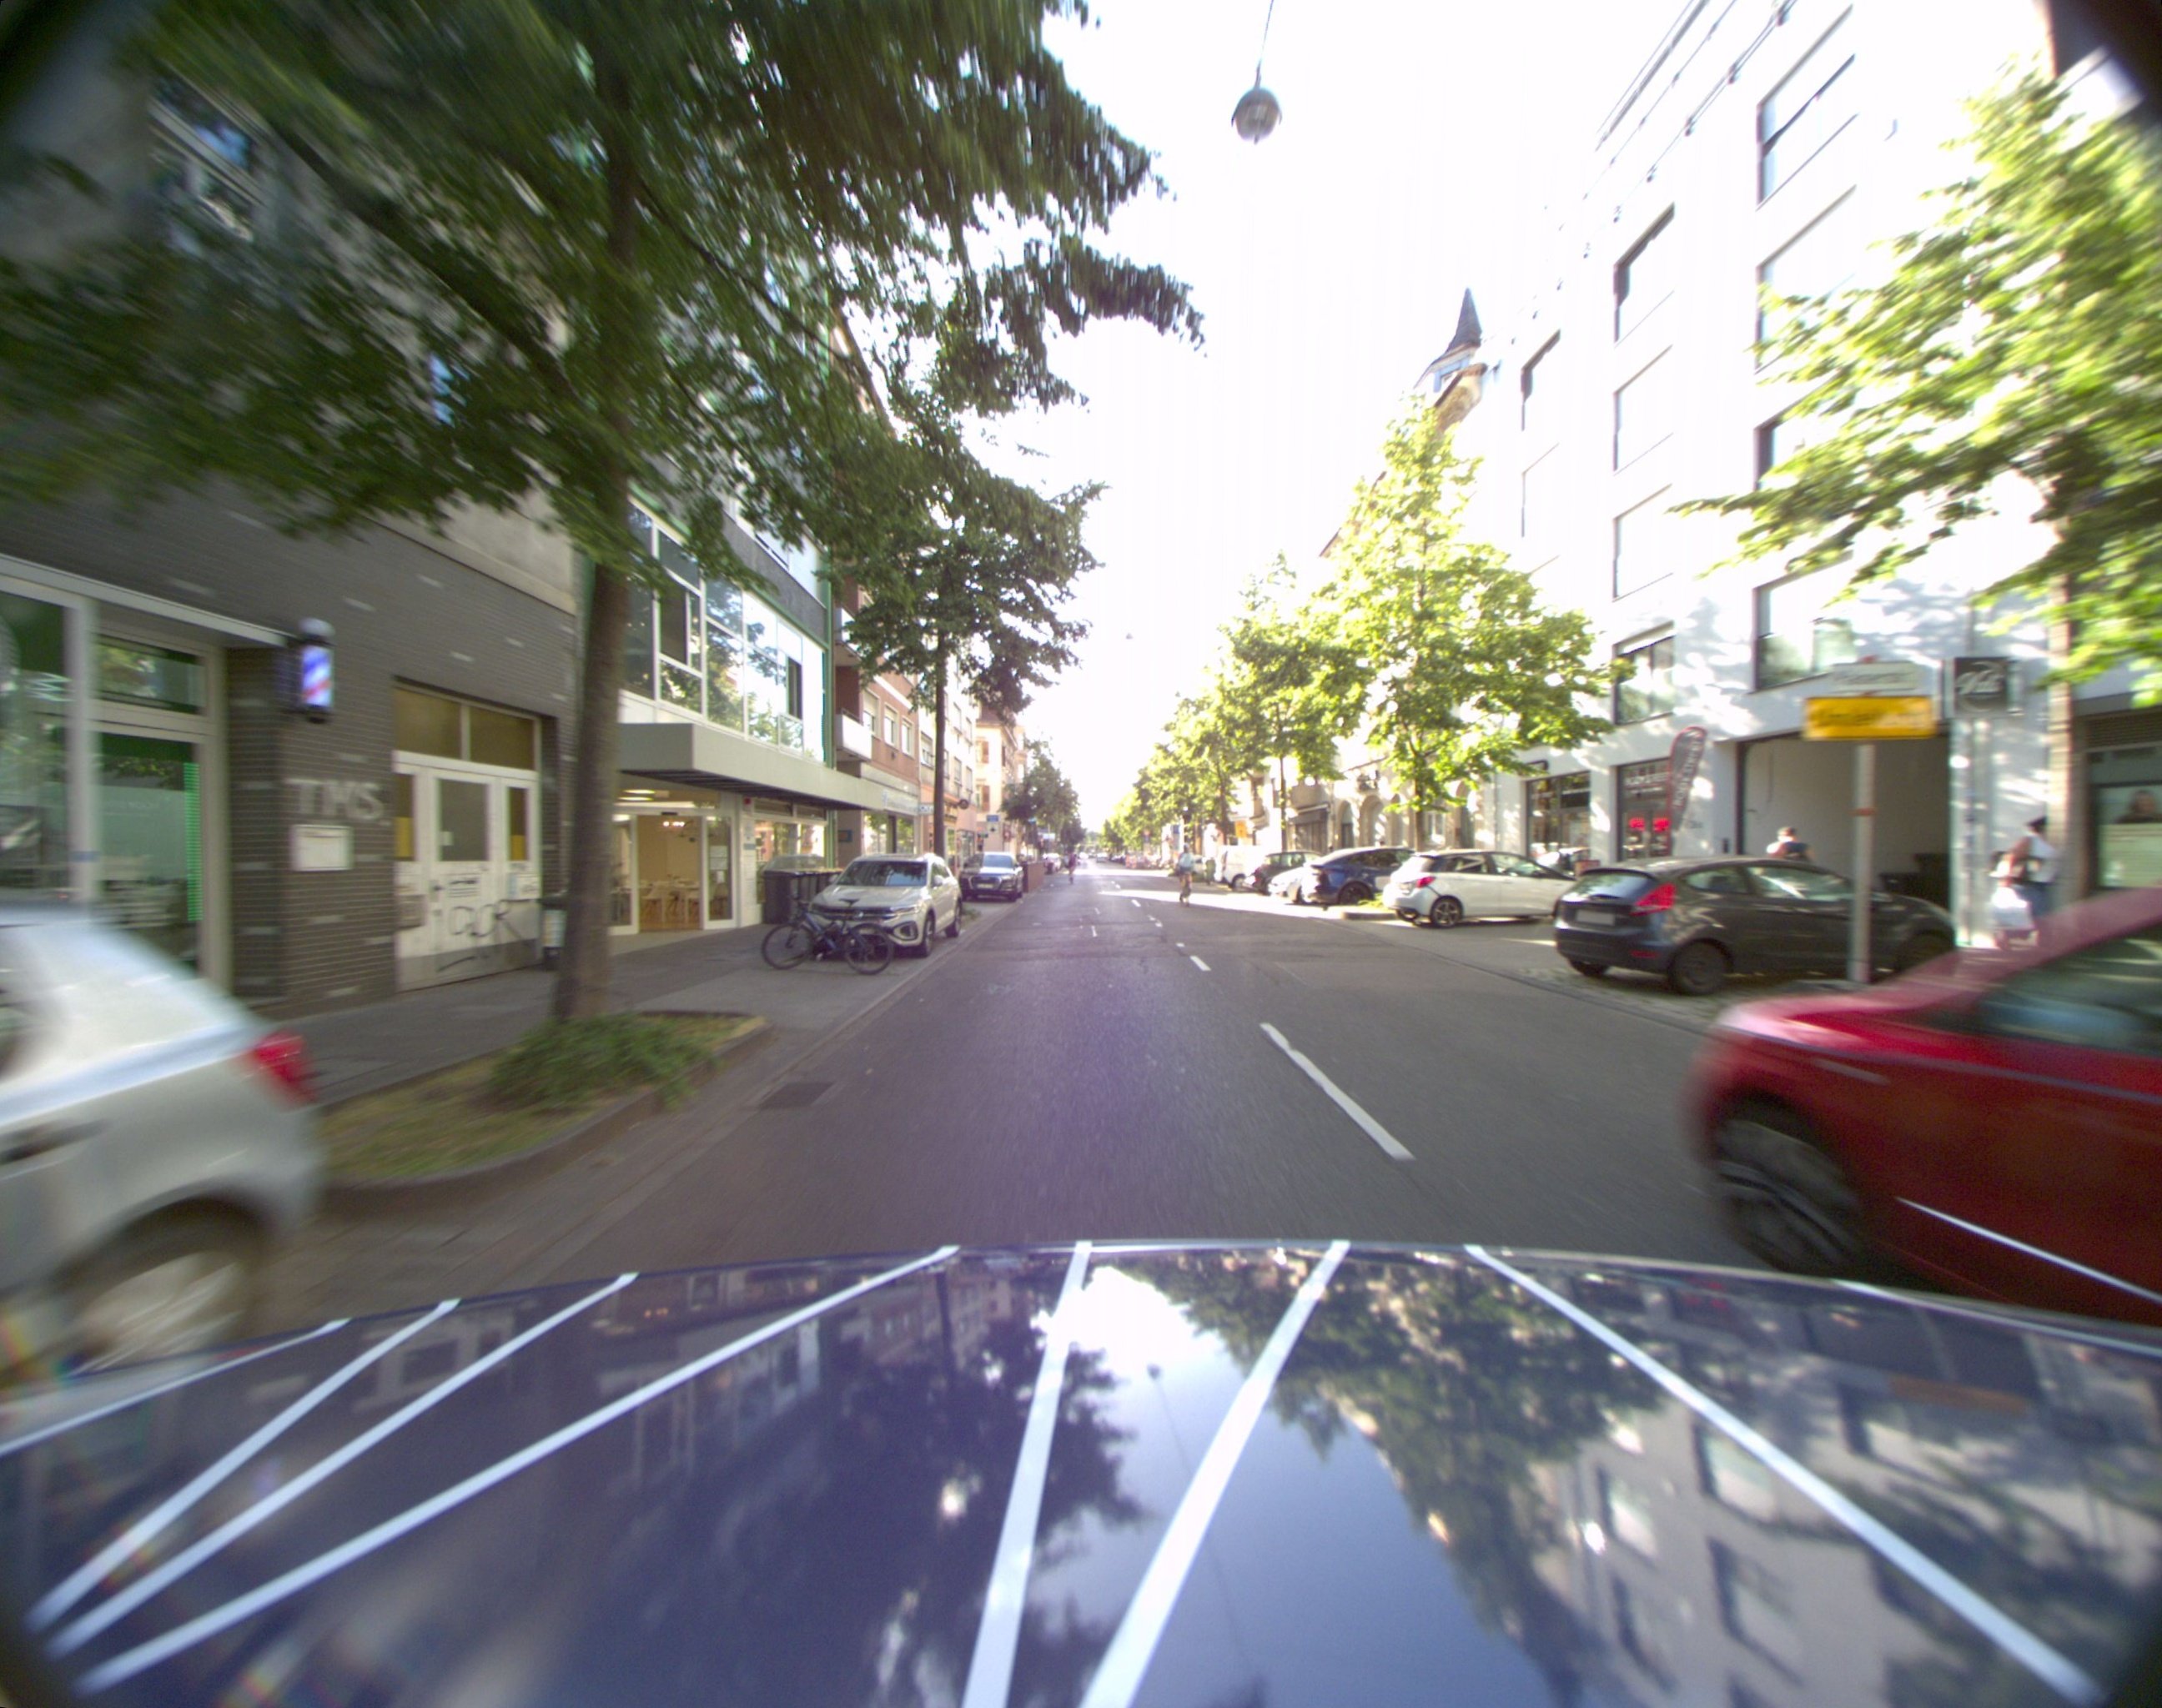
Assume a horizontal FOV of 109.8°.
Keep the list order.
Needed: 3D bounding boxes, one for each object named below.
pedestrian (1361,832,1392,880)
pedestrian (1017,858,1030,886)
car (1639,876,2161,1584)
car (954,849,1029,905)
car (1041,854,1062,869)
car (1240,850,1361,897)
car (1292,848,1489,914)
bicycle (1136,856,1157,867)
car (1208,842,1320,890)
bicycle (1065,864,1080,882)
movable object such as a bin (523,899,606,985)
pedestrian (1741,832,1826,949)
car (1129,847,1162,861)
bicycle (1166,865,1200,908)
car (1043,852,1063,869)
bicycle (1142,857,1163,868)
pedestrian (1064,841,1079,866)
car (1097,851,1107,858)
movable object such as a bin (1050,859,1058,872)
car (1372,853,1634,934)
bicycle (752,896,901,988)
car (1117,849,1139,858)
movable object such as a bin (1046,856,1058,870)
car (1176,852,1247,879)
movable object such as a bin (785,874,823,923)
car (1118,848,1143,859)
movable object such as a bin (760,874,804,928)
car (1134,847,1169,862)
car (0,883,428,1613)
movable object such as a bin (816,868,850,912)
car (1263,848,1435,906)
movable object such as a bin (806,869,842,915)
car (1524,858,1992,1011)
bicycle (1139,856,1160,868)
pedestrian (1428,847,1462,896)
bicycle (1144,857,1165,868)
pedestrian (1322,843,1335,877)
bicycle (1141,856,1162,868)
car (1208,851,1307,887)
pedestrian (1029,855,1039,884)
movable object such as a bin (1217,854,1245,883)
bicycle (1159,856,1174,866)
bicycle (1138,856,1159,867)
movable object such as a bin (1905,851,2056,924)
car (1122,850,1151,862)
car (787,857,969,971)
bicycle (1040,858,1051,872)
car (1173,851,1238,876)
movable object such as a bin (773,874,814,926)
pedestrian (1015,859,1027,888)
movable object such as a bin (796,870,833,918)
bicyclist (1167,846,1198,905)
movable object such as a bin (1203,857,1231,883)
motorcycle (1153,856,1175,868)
[{"bbox_3d":[11.484,0.077,29.563,0.776,1.756,0.763,-5,1,-2],"label":"pedestrian"},{"bbox_3d":[-2.858,0.873,37.597,0.553,1.371,0.594,-1,1,1],"label":"pedestrian"},{"bbox_3d":[3.249,0.878,1.413,1.662,1.526,3.760,1,0,1],"label":"car"},{"bbox_3d":[-2.969,0.707,26.199,1.999,1.680,4.516,2,0,0],"label":"car"},{"bbox_3d":[-2.802,0.674,73.024,1.835,1.410,4.159,1,0,0],"label":"car"},{"bbox_3d":[7.803,0.682,27.223,3.809,1.549,1.791,-1,0,1],"label":"car"},{"bbox_3d":[8.015,0.675,20.008,4.377,1.561,1.980,-1,0,1],"label":"car"},{"bbox_3d":[6.608,0.761,76.337,2.006,1.023,0.473,-2,1,-12],"label":"bicycle"},{"bbox_3d":[7.522,0.491,31.523,4.115,1.825,2.038,-2,0,1],"label":"car"},{"bbox_3d":[-0.476,1.041,42.597,0.805,0.958,1.996,-2,0,-1],"label":"bicycle"},{"bbox_3d":[-6.185,1.042,9.125,0.524,0.951,0.655,0,1,2],"label":"movable object such as a bin"},{"bbox_3d":[11.093,0.557,12.024,0.700,1.787,0.746,-1,1,12],"label":"pedestrian"},{"bbox_3d":[8.389,0.009,99.193,4.135,1.670,2.000,-1,1,-1],"label":"car"},{"bbox_3d":[2.988,0.935,22.400,0.727,1.162,2.197,-1,0,1],"label":"bicycle"},{"bbox_3d":[-2.864,0.630,77.841,1.835,1.641,4.159,1,0,1],"label":"car"},{"bbox_3d":[7.032,0.808,74.463,2.006,1.023,0.473,-2,1,-12],"label":"bicycle"},{"bbox_3d":[-0.513,-0.026,42.573,0.804,1.381,0.931,-2,0,-1],"label":"pedestrian"},{"bbox_3d":[4.173,0.093,150.679,1.835,1.410,3.833,0,0,0],"label":"car"},{"bbox_3d":[-2.252,0.940,63.736,0.634,1.062,0.602,0,3,2],"label":"movable object such as a bin"},{"bbox_3d":[8.426,0.753,15.452,4.257,1.450,1.979,-1,0,-3],"label":"car"},{"bbox_3d":[-3.210,1.109,9.678,1.626,1.007,0.611,4,0,-1],"label":"bicycle"},{"bbox_3d":[9.446,-0.129,153.220,4.135,1.792,1.911,-1,1,-1],"label":"car"},{"bbox_3d":[-2.483,0.797,65.339,0.944,1.207,0.699,0,2,1],"label":"movable object such as a bin"},{"bbox_3d":[7.549,0.661,44.234,3.788,1.455,1.709,-2,0,-2],"label":"car"},{"bbox_3d":[-6.084,0.968,16.701,0.615,1.058,0.589,0,1,1],"label":"movable object such as a bin"},{"bbox_3d":[8.576,-0.024,132.462,4.135,1.792,1.911,-1,1,-1],"label":"car"},{"bbox_3d":[-6.082,0.941,15.468,0.615,1.058,0.655,0,1,2],"label":"movable object such as a bin"},{"bbox_3d":[8.647,0.059,93.679,4.135,1.670,2.000,-1,1,-1],"label":"car"},{"bbox_3d":[-3.180,0.904,0.622,1.618,1.520,4.234,3,0,0],"label":"car"},{"bbox_3d":[-6.023,0.869,18.500,0.612,1.058,0.589,0,1,1],"label":"movable object such as a bin"},{"bbox_3d":[7.779,0.641,22.391,4.377,1.561,1.946,-1,0,1],"label":"car"},{"bbox_3d":[-6.044,0.895,17.898,0.615,1.058,0.589,0,1,1],"label":"movable object such as a bin"},{"bbox_3d":[7.409,0.808,8.588,3.790,1.450,1.780,-1,0,-3],"label":"car"},{"bbox_3d":[6.814,0.784,75.443,2.006,1.023,0.473,-2,1,-12],"label":"bicycle"},{"bbox_3d":[11.459,0.540,23.949,0.594,1.485,0.842,-3,1,2],"label":"pedestrian"},{"bbox_3d":[7.135,0.817,73.936,2.006,1.023,0.473,-2,1,-12],"label":"bicycle"},{"bbox_3d":[12.293,0.286,37.801,0.434,1.662,0.639,-1,1,3],"label":"pedestrian"},{"bbox_3d":[6.928,0.798,74.958,2.006,1.023,0.473,-2,1,-12],"label":"bicycle"},{"bbox_3d":[7.898,0.663,34.296,3.989,1.455,1.887,-2,0,1],"label":"car"},{"bbox_3d":[-2.497,0.818,40.368,0.474,1.520,0.462,-1,1,1],"label":"pedestrian"},{"bbox_3d":[7.286,0.691,36.959,1.195,1.337,0.931,-1,1,0],"label":"movable object such as a bin"},{"bbox_3d":[8.431,0.701,75.169,1.513,0.945,0.360,-2,1,41],"label":"bicycle"},{"bbox_3d":[6.717,0.767,75.866,2.006,1.023,0.473,-2,1,-12],"label":"bicycle"},{"bbox_3d":[17.150,0.619,14.538,1.553,1.299,1.105,-2,0,0],"label":"movable object such as a bin"},{"bbox_3d":[7.990,0.254,109.656,4.135,1.585,1.911,-1,1,-1],"label":"car"},{"bbox_3d":[-3.127,0.838,12.653,1.888,1.518,4.233,2,0,0],"label":"car"},{"bbox_3d":[-2.984,0.940,63.687,0.378,1.139,1.670,0,1,-24],"label":"bicycle"},{"bbox_3d":[8.170,0.611,50.152,4.008,1.456,1.748,-2,2,0],"label":"car"},{"bbox_3d":[-6.078,0.958,16.088,0.615,1.058,0.589,0,1,1],"label":"movable object such as a bin"},{"bbox_3d":[-2.881,0.937,36.440,0.474,1.354,0.594,-1,1,1],"label":"pedestrian"},{"bbox_3d":[-6.067,0.899,17.296,0.615,1.058,0.589,0,1,1],"label":"movable object such as a bin"},{"bbox_3d":[2.985,0.613,22.400,0.727,1.690,1.282,-1,0,1],"label":"bicyclist"},{"bbox_3d":[6.789,0.796,37.911,1.240,1.295,0.870,-1,1,-1],"label":"movable object such as a bin"},{"bbox_3d":[7.957,0.769,73.242,2.004,1.178,0.740,-2,0,-2],"label":"motorcycle"}]
